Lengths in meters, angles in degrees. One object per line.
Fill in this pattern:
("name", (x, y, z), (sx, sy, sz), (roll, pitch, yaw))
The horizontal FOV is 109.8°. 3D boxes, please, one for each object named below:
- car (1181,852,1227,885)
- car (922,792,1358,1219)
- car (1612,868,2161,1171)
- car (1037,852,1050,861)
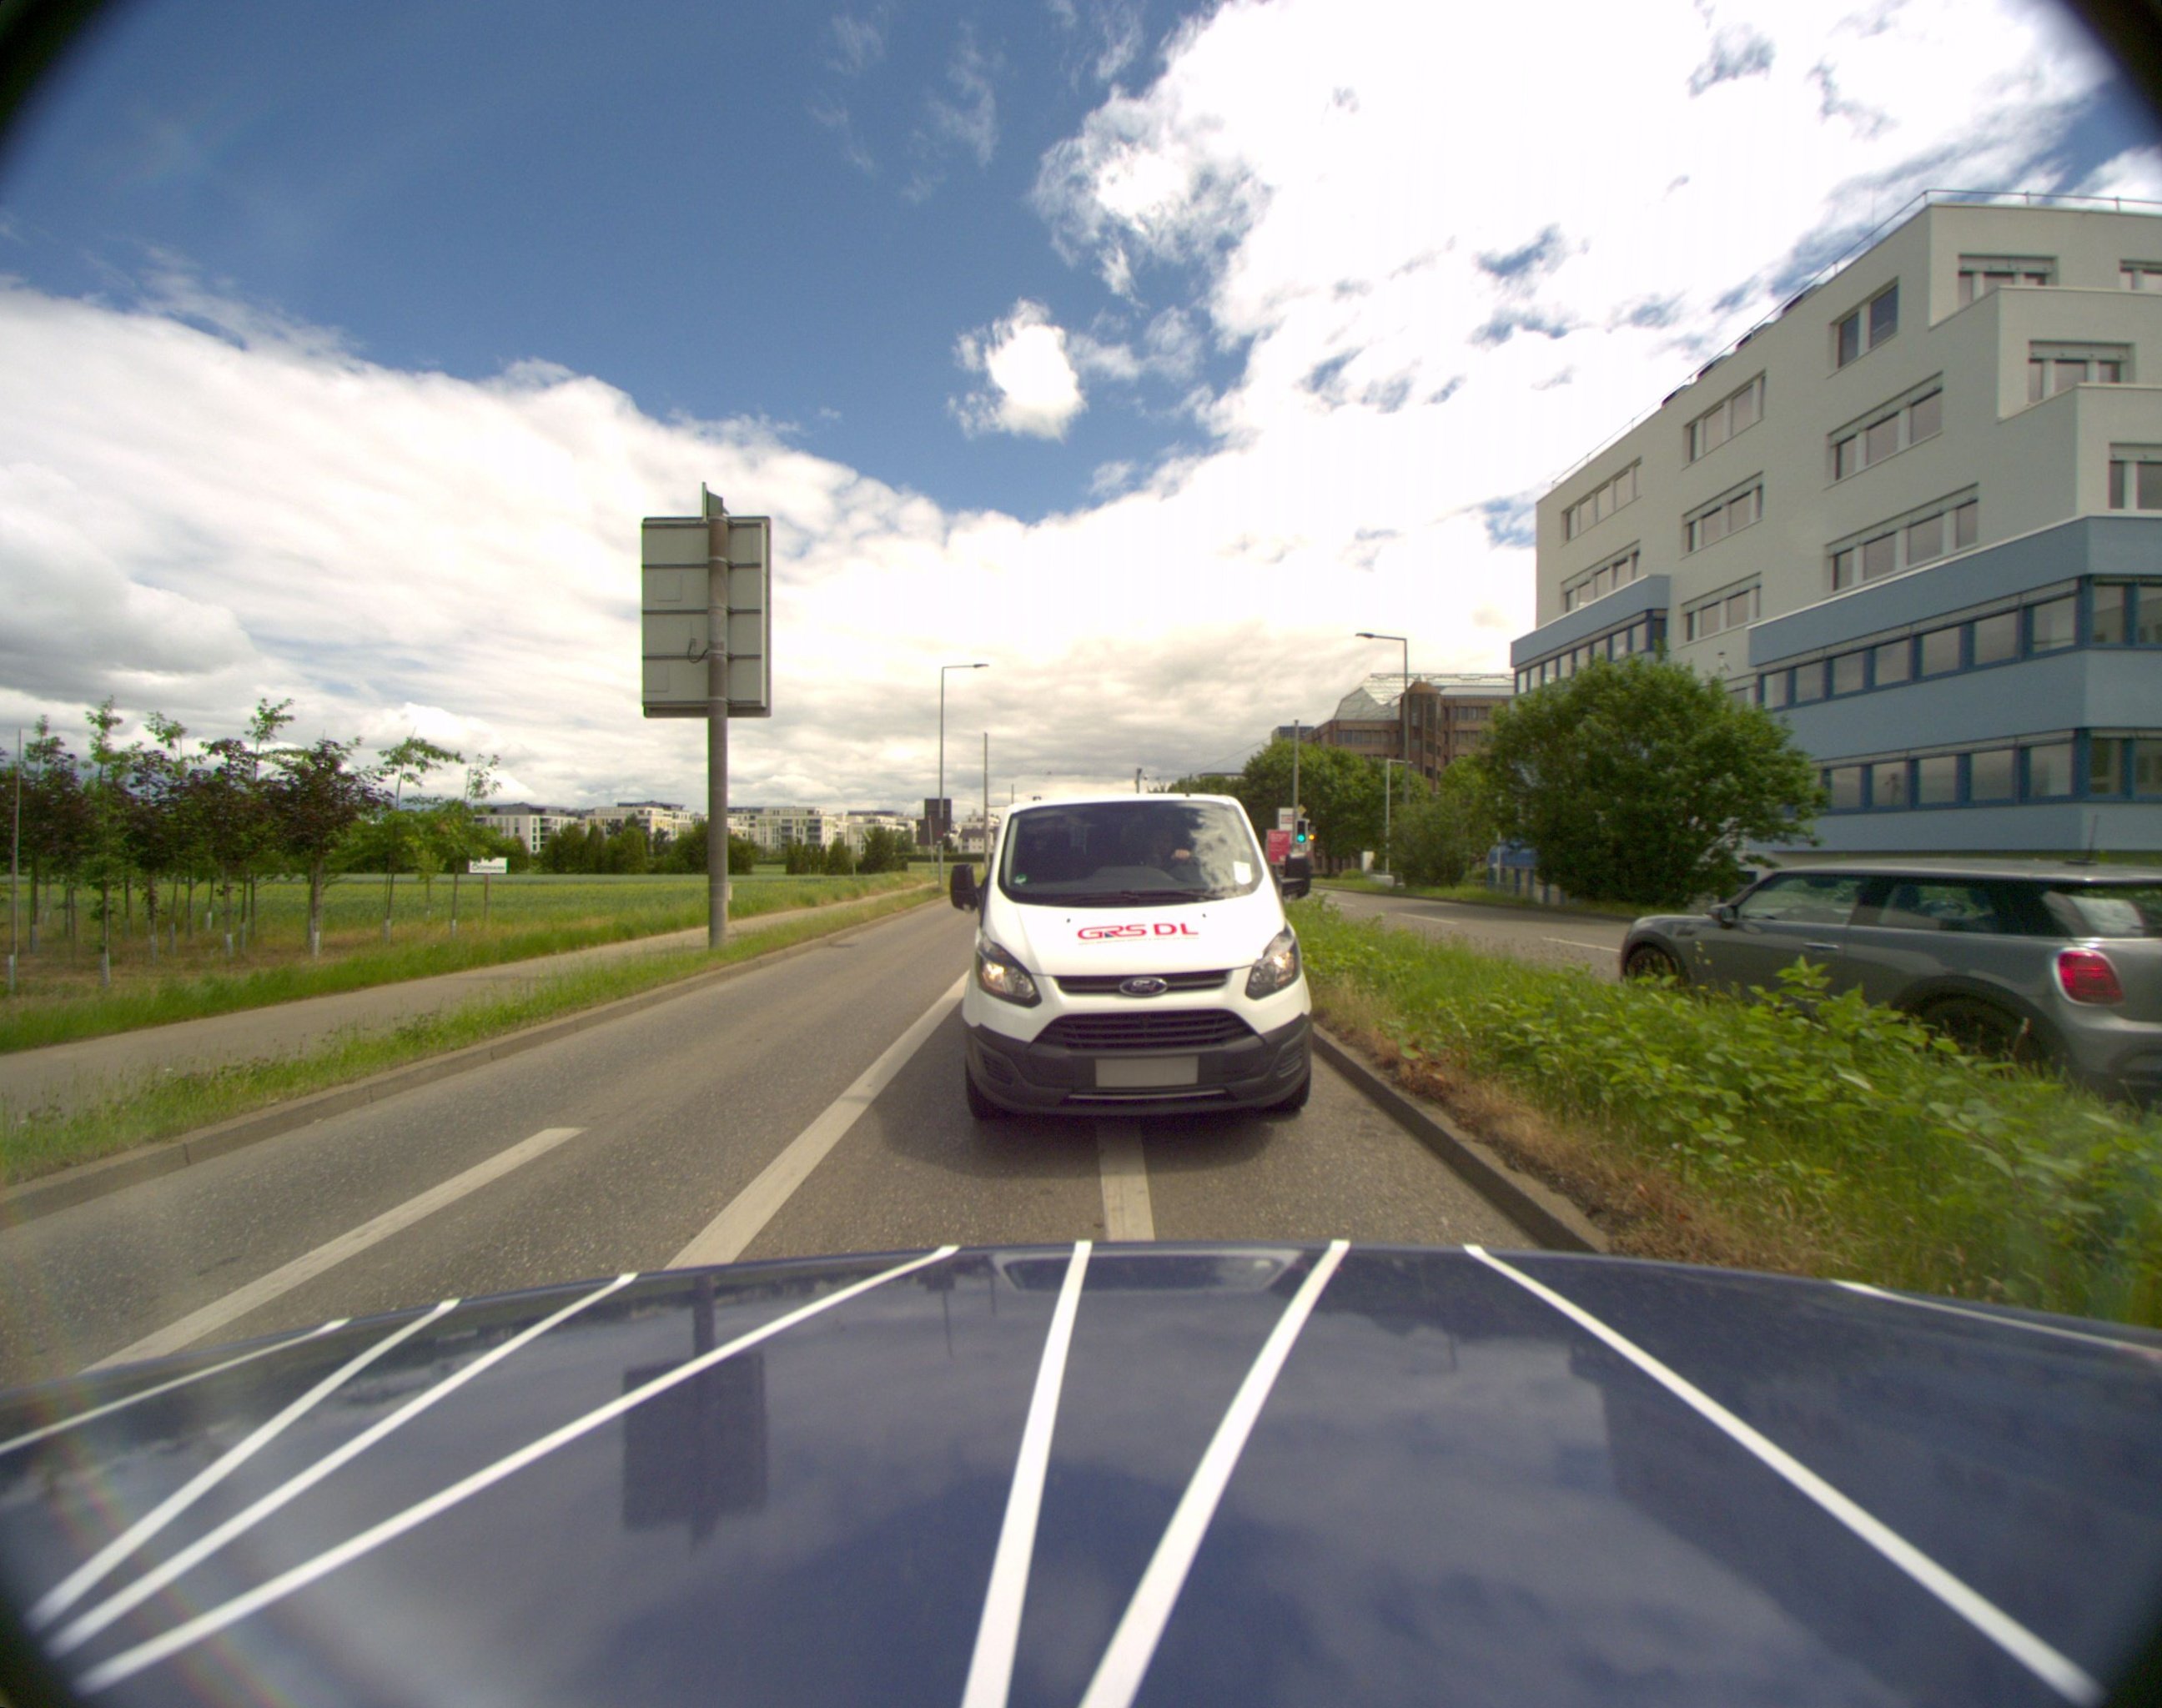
("car", (6.263, 0.694, 39.017), (1.700, 1.592, 4.043), (-1, 1, 0))
("car", (0.308, 0.703, 6.049), (1.968, 1.938, 5.055), (-2, 0, 1))
("car", (6.018, 0.861, 5.605), (1.693, 1.422, 3.635), (-1, 0, 1))
("car", (-5.698, 0.381, 115.644), (1.683, 1.410, 3.739), (-1, 1, -1))
